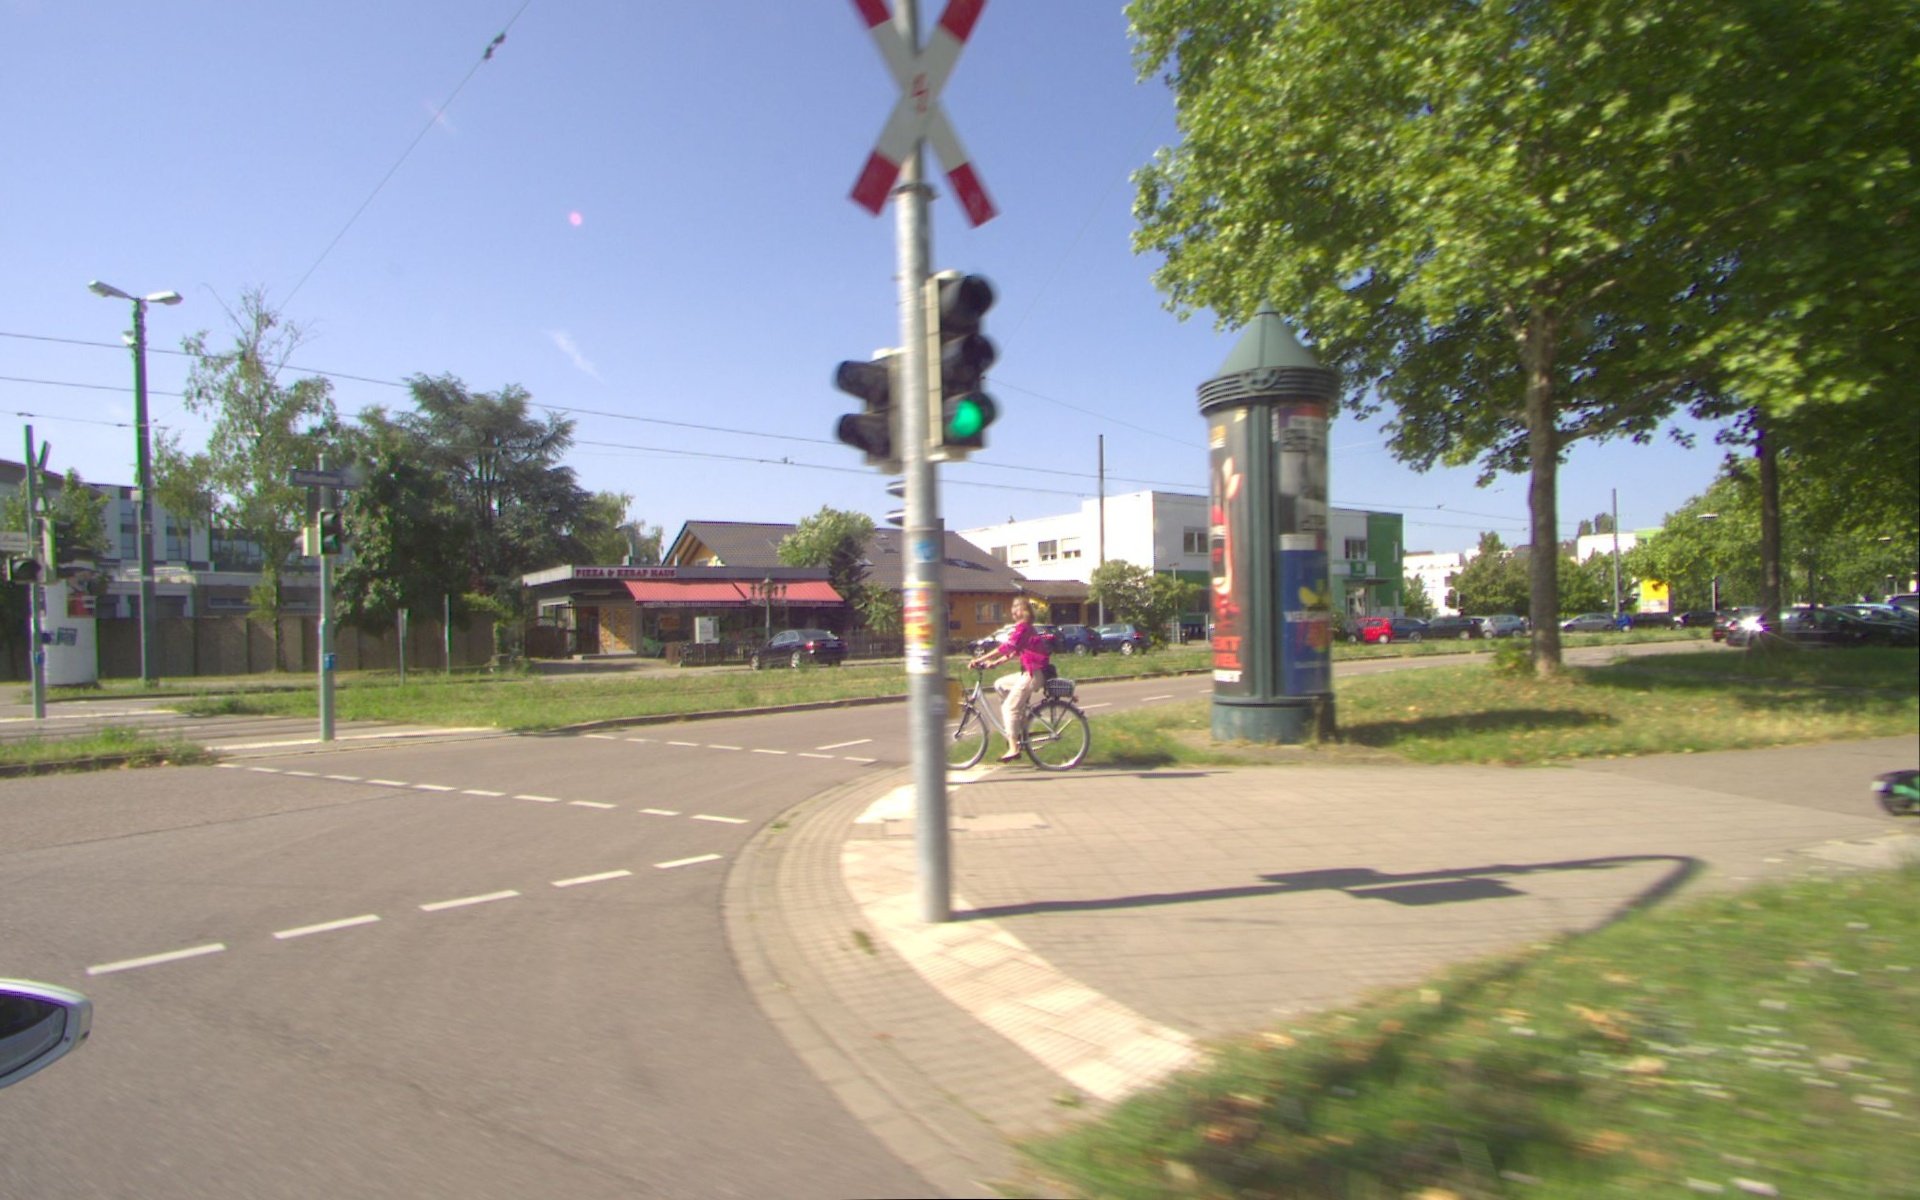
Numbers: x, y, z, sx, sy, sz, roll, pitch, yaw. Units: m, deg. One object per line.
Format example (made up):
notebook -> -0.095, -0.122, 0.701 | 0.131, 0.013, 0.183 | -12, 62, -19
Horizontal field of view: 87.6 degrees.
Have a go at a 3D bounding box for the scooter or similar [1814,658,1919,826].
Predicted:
scooter or similar -> 7.177, 1.003, 7.254 | 1.418, 1.156, 0.517 | -2, -2, 7

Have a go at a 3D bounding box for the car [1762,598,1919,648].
car -> 28.804, 0.741, 32.360 | 1.981, 1.510, 4.312 | 0, -1, -45

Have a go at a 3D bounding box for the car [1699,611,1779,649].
car -> 35.087, 1.358, 45.090 | 3.950, 1.676, 1.782 | 1, -2, -36

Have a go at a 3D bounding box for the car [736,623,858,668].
car -> -6.117, 1.723, 37.189 | 2.120, 1.517, 5.077 | 0, -3, -41

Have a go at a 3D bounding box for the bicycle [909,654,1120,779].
bicycle -> 0.581, 1.183, 10.390 | 2.085, 1.201, 0.693 | -1, 0, 13

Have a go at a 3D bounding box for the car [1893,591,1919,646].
car -> 42.026, 0.732, 41.592 | 1.977, 2.319, 4.554 | 0, -1, -39

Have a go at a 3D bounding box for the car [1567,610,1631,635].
car -> 49.559, 1.765, 77.774 | 3.936, 1.816, 1.994 | -1, -2, 26

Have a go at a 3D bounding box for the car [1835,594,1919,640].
car -> 35.044, 0.628, 36.723 | 1.981, 1.654, 4.312 | 0, -1, -45

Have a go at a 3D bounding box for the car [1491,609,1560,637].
car -> 38.846, 1.621, 68.897 | 3.936, 1.816, 1.994 | -1, -3, 26

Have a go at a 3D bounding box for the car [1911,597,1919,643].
car -> 48.436, 0.907, 47.656 | 1.981, 2.238, 4.545 | 0, -1, -45

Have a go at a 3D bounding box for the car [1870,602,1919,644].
car -> 39.310, 0.906, 39.969 | 1.981, 1.654, 4.312 | 0, -1, -45

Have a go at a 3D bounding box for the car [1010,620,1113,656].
car -> 4.558, 1.708, 45.072 | 4.141, 1.517, 2.135 | -2, -2, 27

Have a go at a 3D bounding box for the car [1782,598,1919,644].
car -> 30.751, 0.718, 33.919 | 1.981, 1.510, 4.312 | 0, -1, -45

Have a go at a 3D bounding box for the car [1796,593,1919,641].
car -> 32.676, 0.635, 35.645 | 1.982, 1.653, 4.312 | 2, -3, -45

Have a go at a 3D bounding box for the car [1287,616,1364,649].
car -> 20.799, 1.903, 57.029 | 3.936, 1.816, 1.994 | -1, -3, 26

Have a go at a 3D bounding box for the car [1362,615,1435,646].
car -> 26.370, 1.861, 60.193 | 3.936, 1.816, 1.994 | -1, -3, 26

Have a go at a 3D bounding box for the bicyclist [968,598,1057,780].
bicyclist -> 0.554, 0.901, 10.400 | 0.795, 1.810, 0.702 | -1, 0, 12

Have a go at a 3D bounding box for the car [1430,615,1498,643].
car -> 33.270, 1.948, 66.226 | 3.936, 1.816, 1.994 | -1, -3, 26

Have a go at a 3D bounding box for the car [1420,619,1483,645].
car -> 31.074, 2.028, 63.412 | 3.385, 1.555, 1.565 | -1, -1, 20

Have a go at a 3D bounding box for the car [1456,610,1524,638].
car -> 35.739, 1.670, 67.636 | 3.936, 1.816, 1.994 | -1, -3, 26

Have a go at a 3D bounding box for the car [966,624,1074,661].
car -> 2.576, 1.820, 43.216 | 4.141, 1.517, 2.135 | -2, -2, 27

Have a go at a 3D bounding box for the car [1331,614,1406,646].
car -> 23.963, 1.783, 58.742 | 3.936, 1.816, 1.994 | -1, -3, 26

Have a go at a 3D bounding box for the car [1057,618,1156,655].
car -> 6.863, 1.710, 46.877 | 4.141, 1.640, 2.135 | -2, -2, 27

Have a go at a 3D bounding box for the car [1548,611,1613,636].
car -> 46.937, 1.791, 75.852 | 3.936, 1.816, 1.994 | -1, -3, 26

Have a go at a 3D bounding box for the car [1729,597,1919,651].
car -> 26.429, 0.762, 30.685 | 1.981, 1.510, 4.313 | 0, -2, -45
